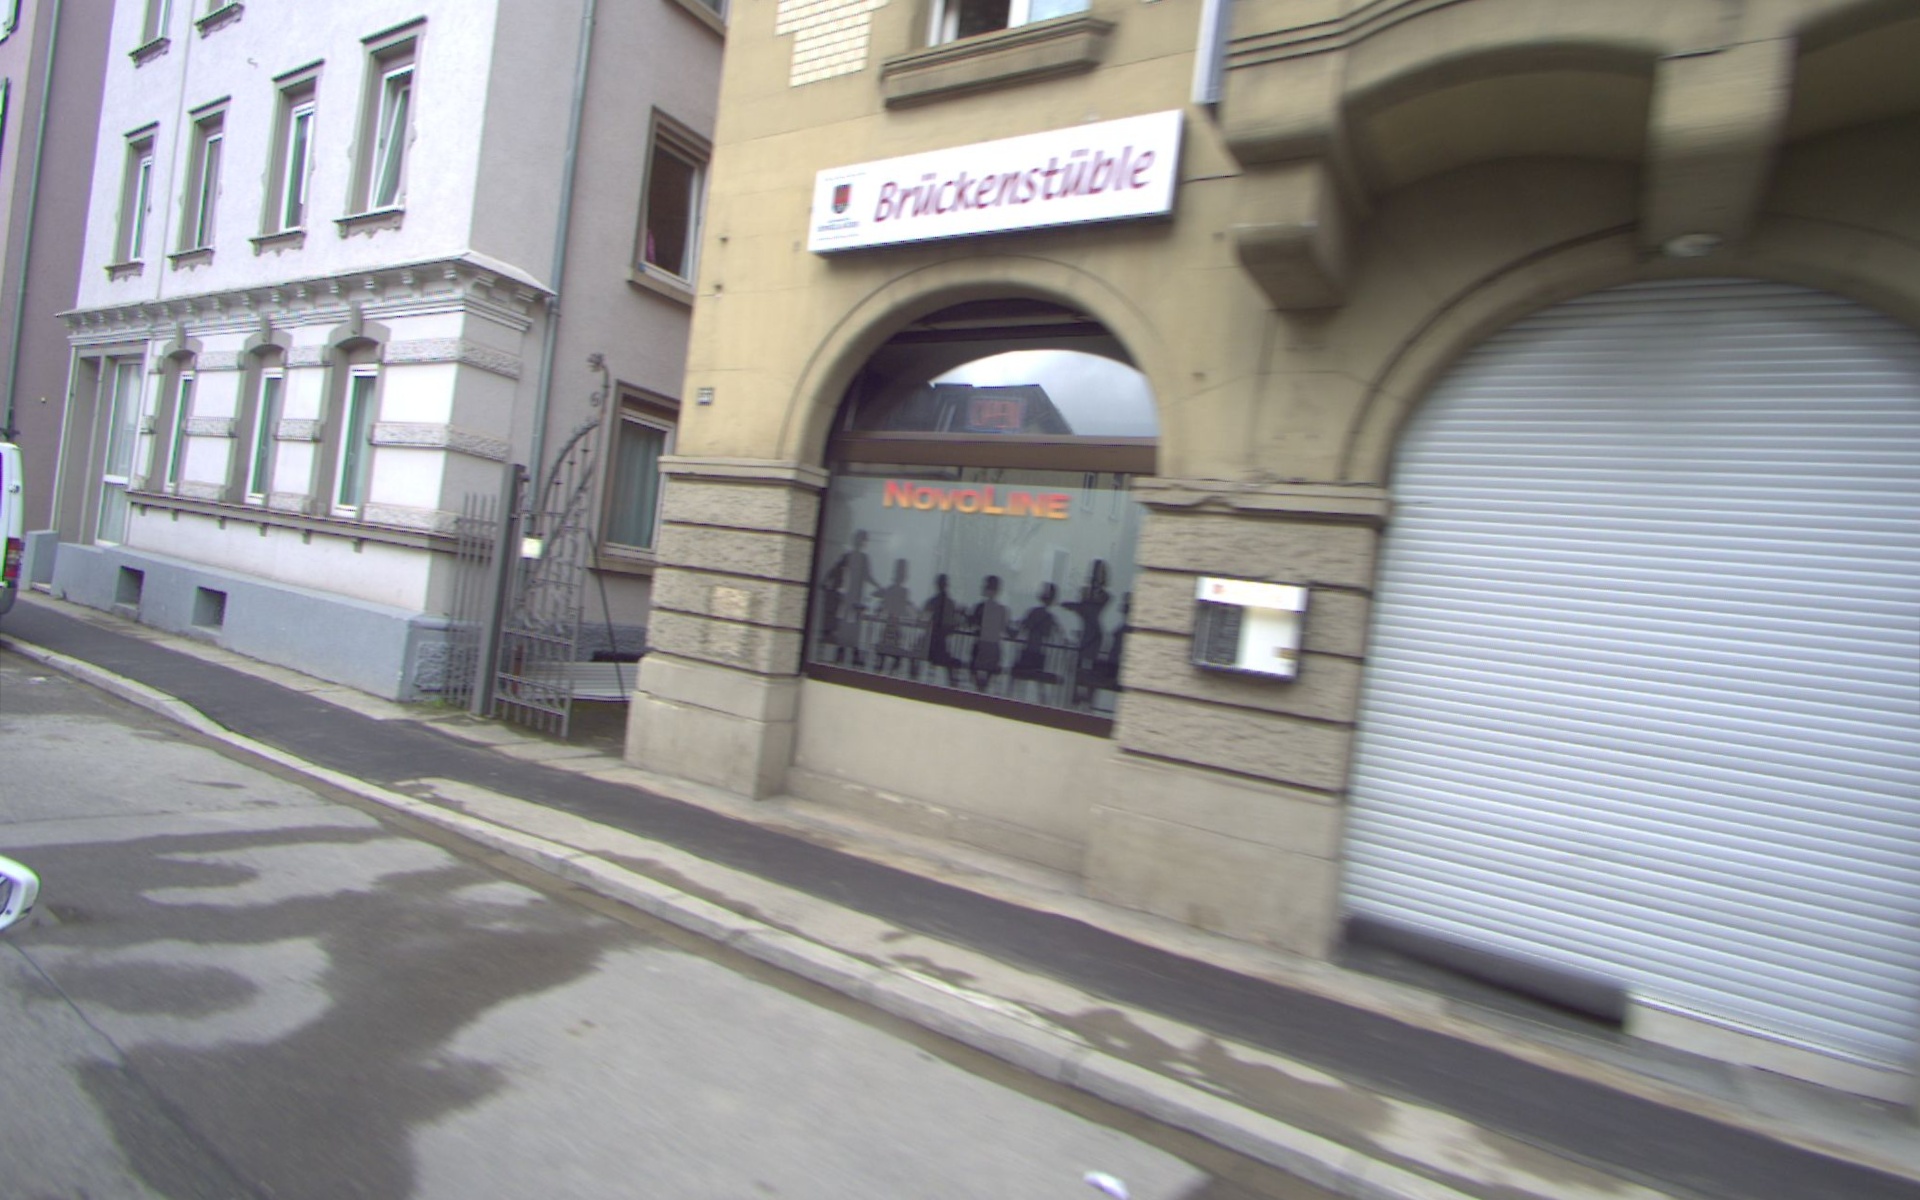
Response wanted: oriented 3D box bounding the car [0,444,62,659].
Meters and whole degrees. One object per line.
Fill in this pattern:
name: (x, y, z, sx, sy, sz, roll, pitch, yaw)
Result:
car: (-11.582, -0.785, 10.316, 4.845, 2.028, 2.132, 7, -2, 32)
